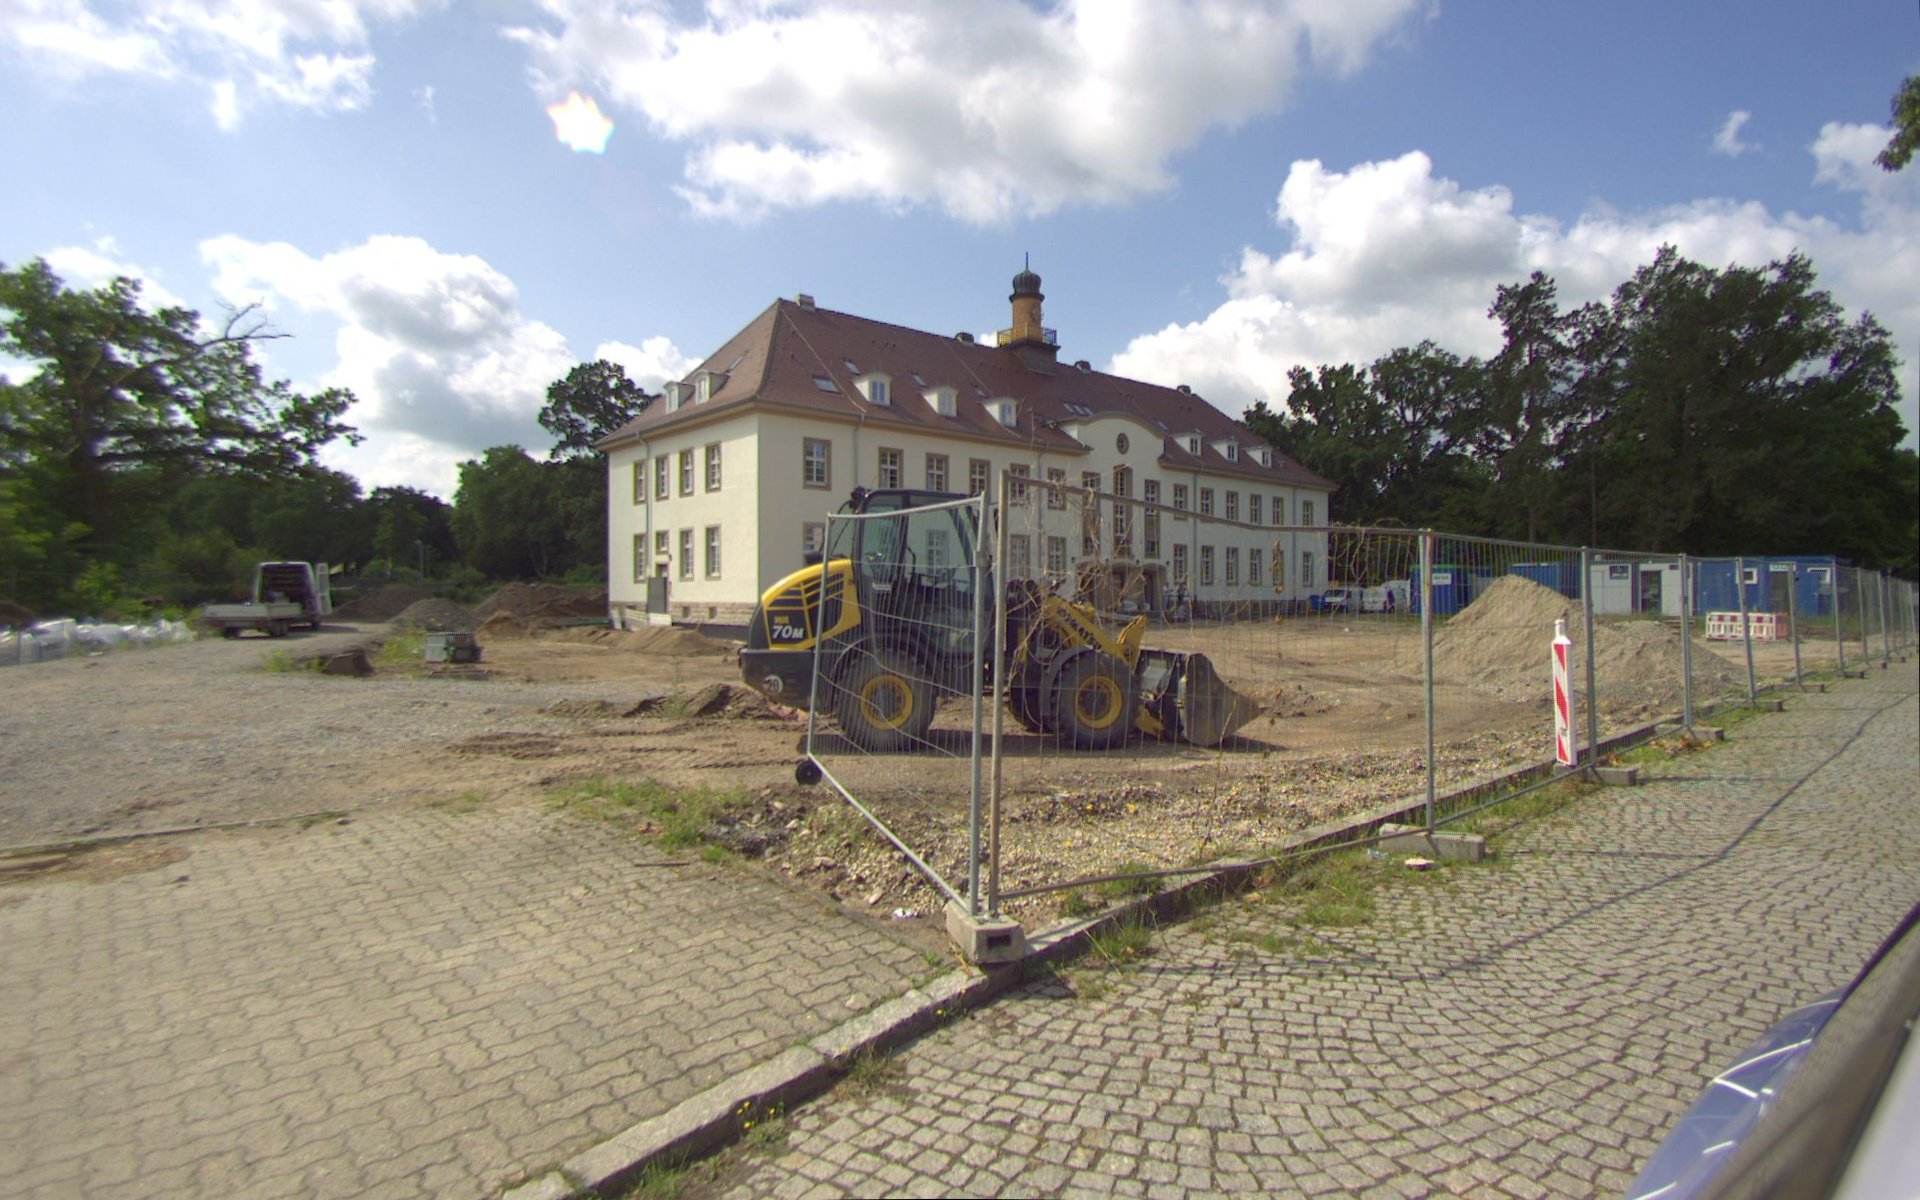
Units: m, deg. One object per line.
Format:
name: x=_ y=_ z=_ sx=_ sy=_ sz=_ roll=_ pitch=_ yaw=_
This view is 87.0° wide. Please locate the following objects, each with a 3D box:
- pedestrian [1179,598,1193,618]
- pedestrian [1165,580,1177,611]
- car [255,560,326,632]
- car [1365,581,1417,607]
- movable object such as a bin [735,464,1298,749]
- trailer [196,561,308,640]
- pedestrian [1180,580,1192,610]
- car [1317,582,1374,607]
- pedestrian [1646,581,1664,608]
pedestrian: x=13.187 y=0.467 z=58.979 sx=0.698 sy=1.128 sz=0.490 roll=0 pitch=-1 yaw=-44
pedestrian: x=12.538 y=-0.284 z=60.202 sx=0.496 sy=1.810 sz=0.492 roll=0 pitch=-1 yaw=-19
car: x=-26.285 y=-0.175 z=39.783 sx=2.204 sy=2.623 sz=5.440 roll=0 pitch=1 yaw=-33
car: x=29.685 y=-0.448 z=69.662 sx=3.969 sy=1.704 sz=1.801 roll=-1 pitch=1 yaw=-41
movable object such as a bin: x=0.484 y=0.078 z=10.747 sx=5.537 sy=2.553 sz=2.154 roll=1 pitch=0 yaw=-13
trailer: x=-24.152 y=-0.034 z=34.750 sx=1.920 sy=2.503 sz=4.855 roll=0 pitch=1 yaw=-20
pedestrian: x=13.664 y=-0.300 z=61.089 sx=0.498 sy=1.810 sz=0.490 roll=0 pitch=-1 yaw=-45
car: x=27.379 y=-0.414 z=71.854 sx=4.626 sy=1.750 sz=1.883 roll=-1 pitch=1 yaw=-41
pedestrian: x=33.334 y=-0.260 z=48.532 sx=0.671 sy=1.259 sz=0.601 roll=0 pitch=-1 yaw=-43
